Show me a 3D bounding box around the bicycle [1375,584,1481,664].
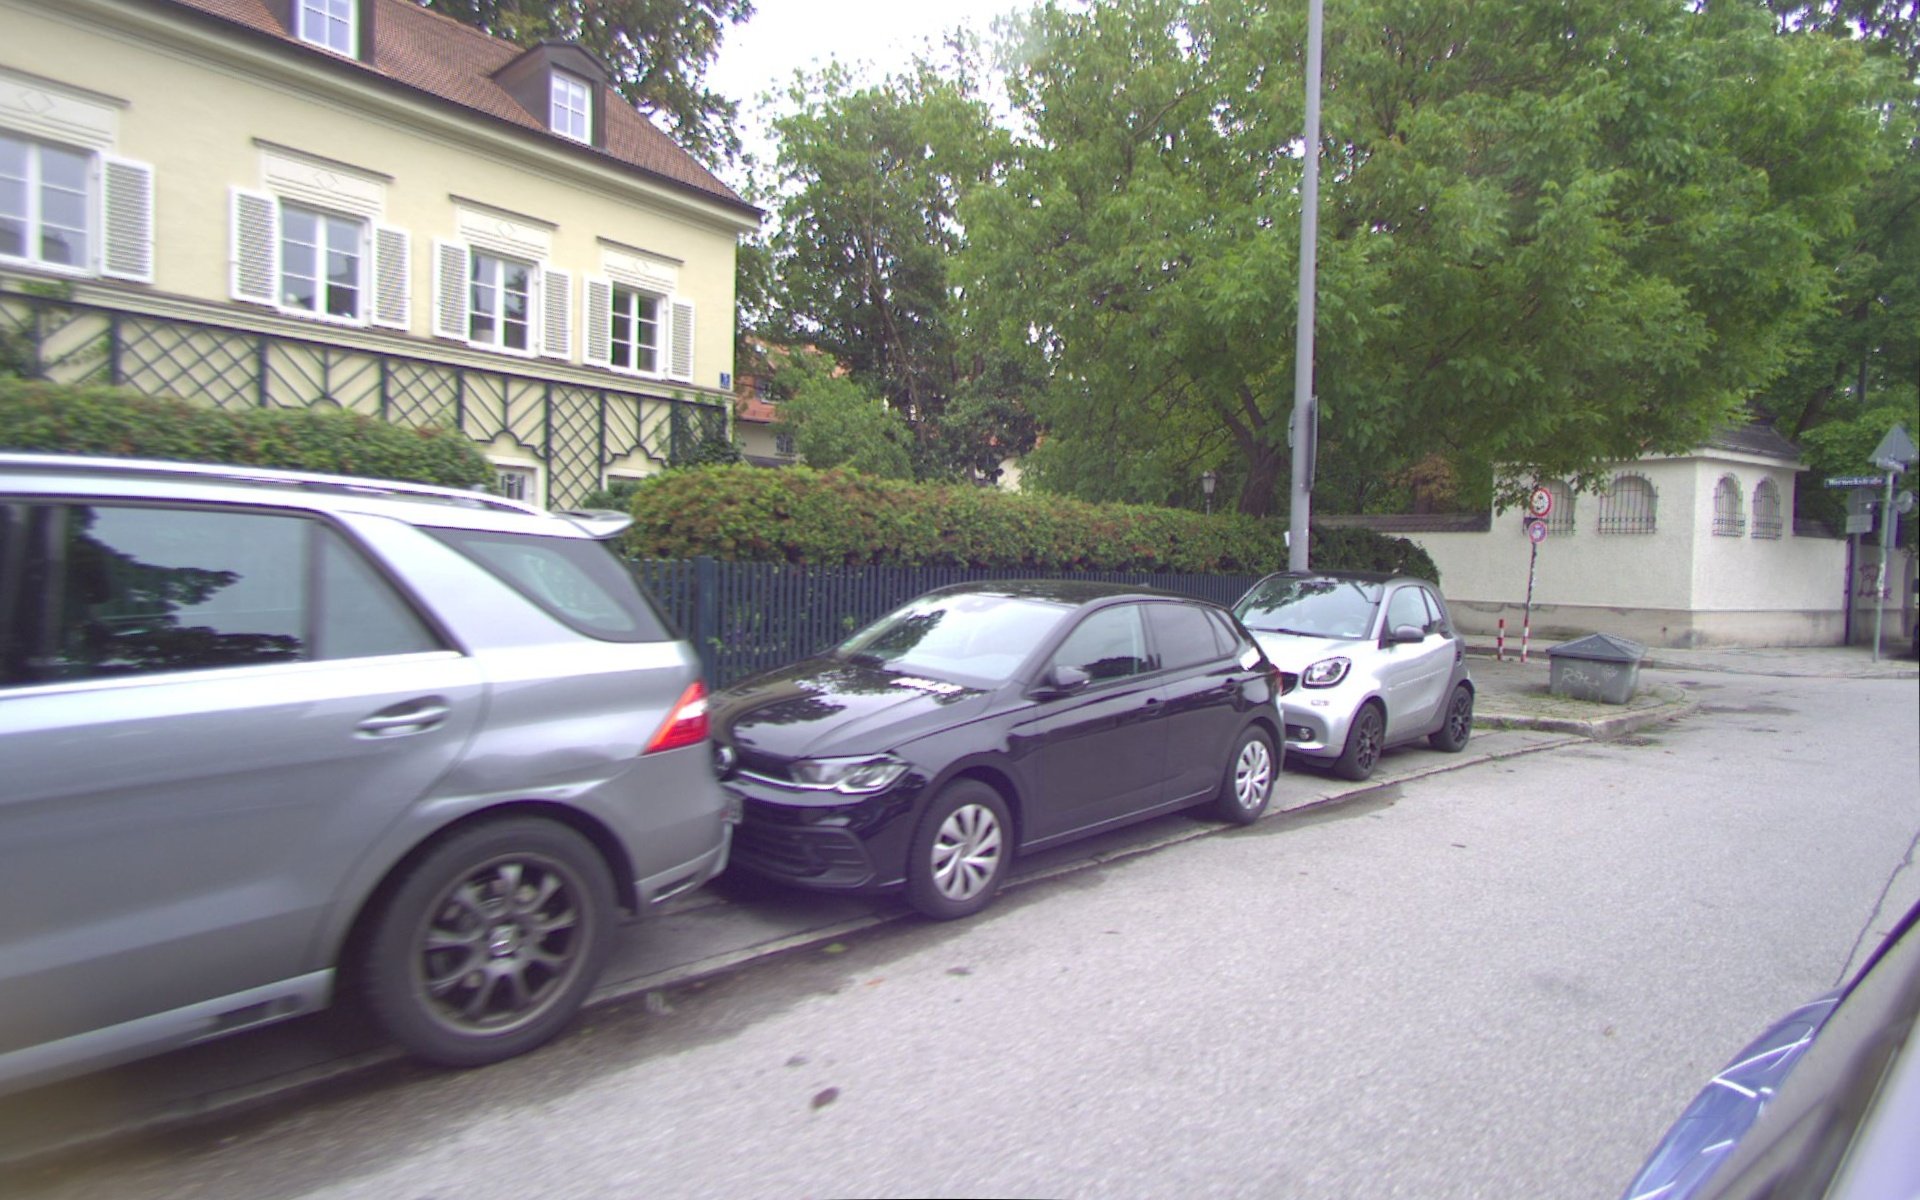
[{"bbox_3d":[7.481,0.360,16.147,1.939,1.176,0.807,0,2,-42],"label":"bicycle"}]

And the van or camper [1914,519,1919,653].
[{"bbox_3d":[24.650,-0.243,23.244,7.134,2.942,2.282,0,2,-33],"label":"van or camper"}]

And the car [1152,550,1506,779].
[{"bbox_3d":[3.246,0.396,8.740,2.898,1.554,1.741,-2,5,-44],"label":"car"}]

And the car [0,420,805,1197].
[{"bbox_3d":[-2.998,0.409,2.764,4.804,1.732,1.996,-1,4,-44],"label":"car"}]

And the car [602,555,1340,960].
[{"bbox_3d":[0.336,0.542,5.883,4.153,1.444,1.879,-1,4,-44],"label":"car"}]
